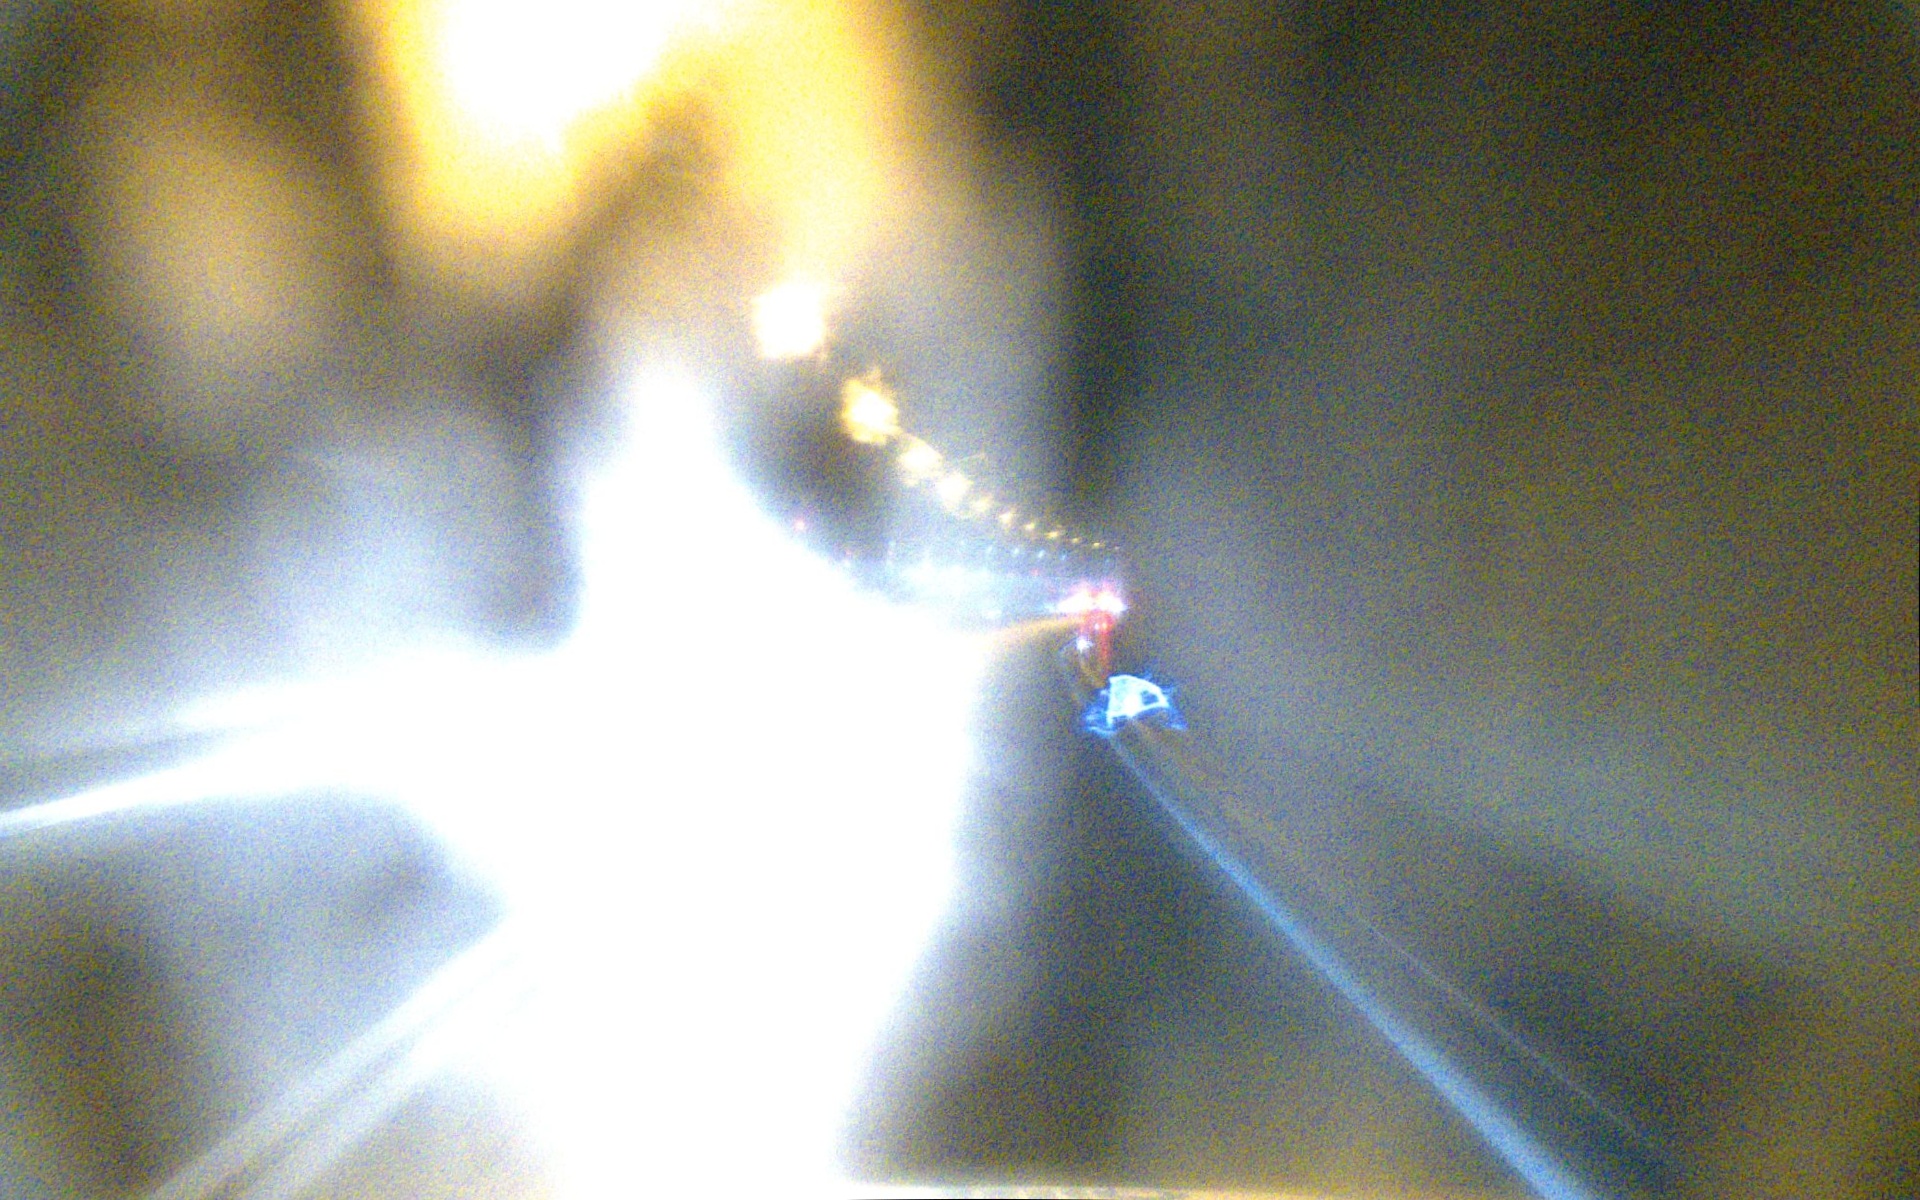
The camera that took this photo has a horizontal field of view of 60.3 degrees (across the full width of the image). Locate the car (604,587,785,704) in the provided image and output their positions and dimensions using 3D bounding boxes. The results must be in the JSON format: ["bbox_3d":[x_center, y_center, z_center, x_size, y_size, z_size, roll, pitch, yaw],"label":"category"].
[{"bbox_3d":[-3.588,0.568,23.148,1.677,1.402,4.585,2,0,1],"label":"car"}]

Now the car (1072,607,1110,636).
[{"bbox_3d":[7.995,1.279,100.571,1.951,1.679,4.003,1,0,9],"label":"car"}]
